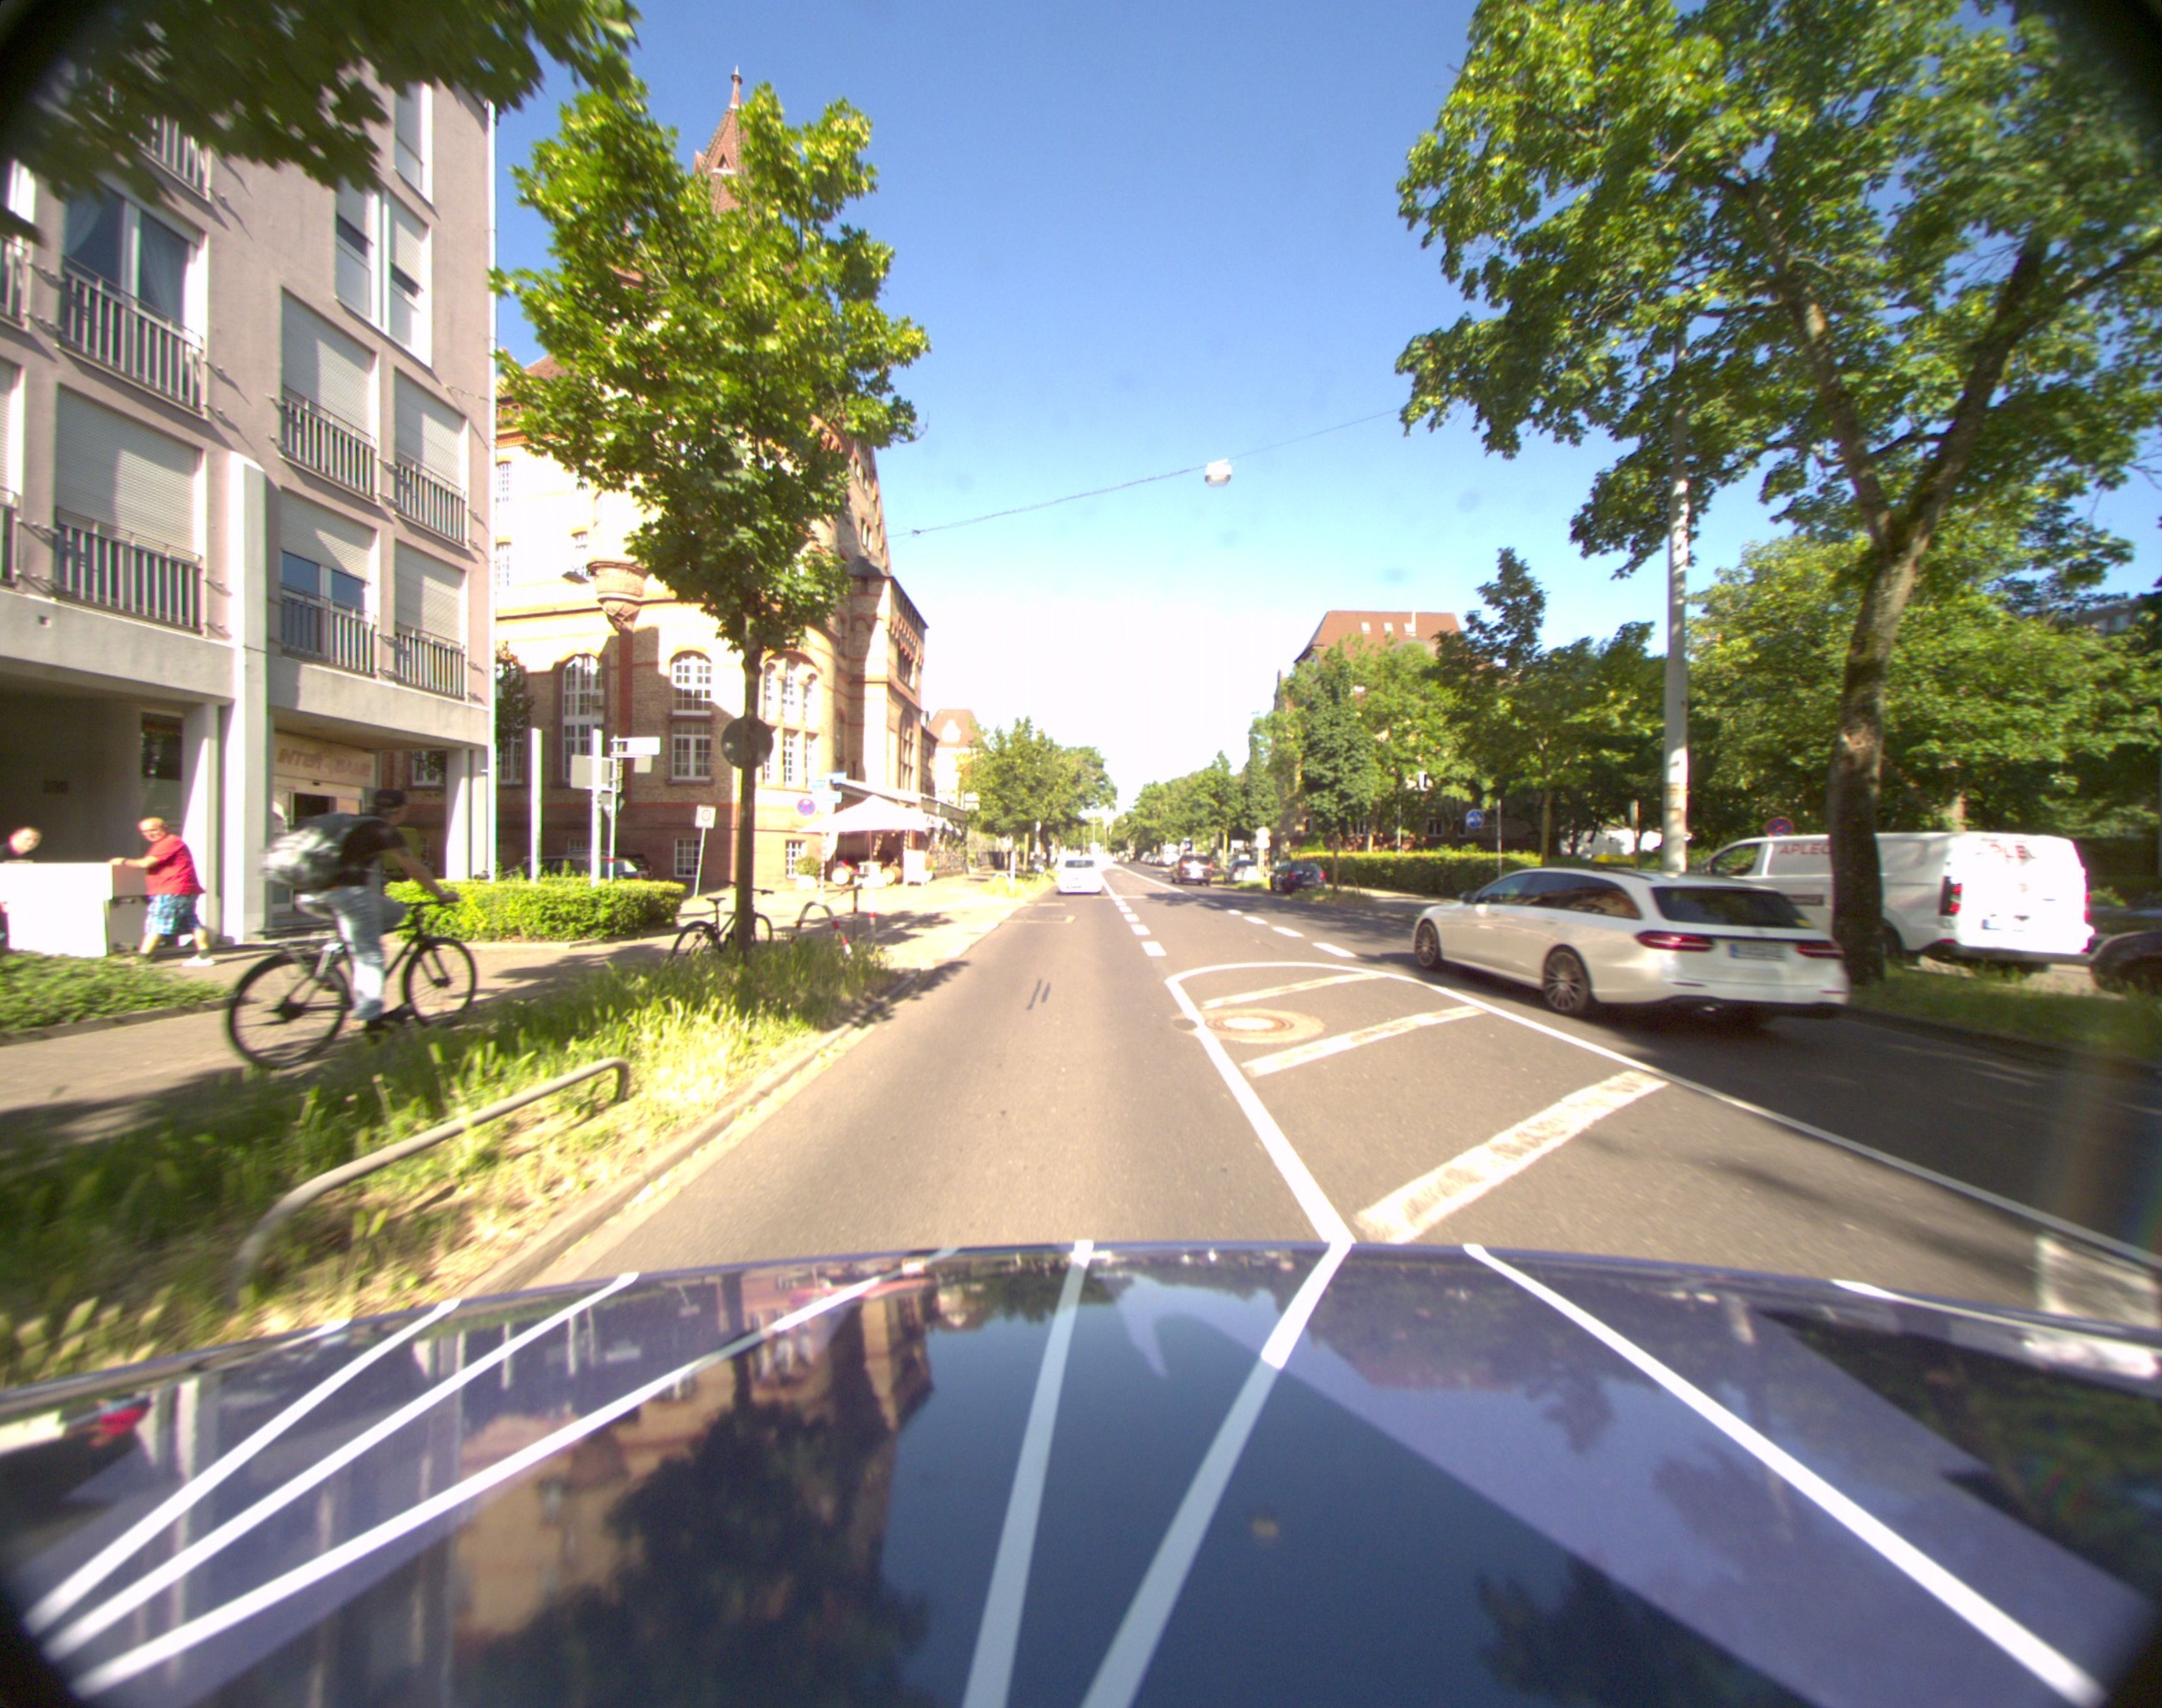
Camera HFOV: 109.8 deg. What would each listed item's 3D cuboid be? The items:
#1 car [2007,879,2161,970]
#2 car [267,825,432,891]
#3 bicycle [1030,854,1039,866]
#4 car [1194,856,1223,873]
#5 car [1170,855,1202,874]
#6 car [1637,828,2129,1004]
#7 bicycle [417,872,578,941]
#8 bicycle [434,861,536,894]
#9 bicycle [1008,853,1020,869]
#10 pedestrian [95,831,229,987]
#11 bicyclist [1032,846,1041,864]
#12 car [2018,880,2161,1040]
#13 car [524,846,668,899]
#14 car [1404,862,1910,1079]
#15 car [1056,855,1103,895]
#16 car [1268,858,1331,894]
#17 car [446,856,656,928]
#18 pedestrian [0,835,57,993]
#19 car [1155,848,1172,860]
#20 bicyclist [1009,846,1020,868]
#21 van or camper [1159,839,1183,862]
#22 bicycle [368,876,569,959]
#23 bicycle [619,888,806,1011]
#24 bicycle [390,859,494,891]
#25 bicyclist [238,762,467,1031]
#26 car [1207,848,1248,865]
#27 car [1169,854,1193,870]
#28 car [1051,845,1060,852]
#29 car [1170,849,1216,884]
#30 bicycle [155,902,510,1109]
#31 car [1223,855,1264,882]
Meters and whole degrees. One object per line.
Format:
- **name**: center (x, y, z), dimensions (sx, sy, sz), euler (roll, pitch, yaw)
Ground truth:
- **car**: center (20.812, 1.263, 14.035), dimensions (4.680, 1.504, 2.010), euler (0, 0, 5)
- **car**: center (-27.038, 0.149, 28.146), dimensions (4.798, 2.289, 2.139), euler (0, 1, 14)
- **bicycle**: center (-4.138, 0.568, 67.992), dimensions (0.687, 1.022, 2.095), euler (0, 1, 0)
- **car**: center (10.022, 0.840, 59.918), dimensions (1.682, 1.248, 4.015), euler (0, 0, 1)
- **car**: center (9.376, 0.925, 68.090), dimensions (1.861, 1.485, 4.703), euler (-3, 0, -4)
- **car**: center (11.701, 0.749, 11.870), dimensions (1.986, 2.064, 5.195), euler (2, 0, -2)
- **bicycle**: center (-9.550, 0.832, 12.586), dimensions (0.686, 1.021, 2.205), euler (2, -2, 9)
- **bicycle**: center (-21.274, 0.815, 27.224), dimensions (1.057, 1.021, 2.774), euler (-1, 1, 15)
- **bicycle**: center (-5.160, 0.528, 58.558), dimensions (0.654, 1.169, 1.843), euler (4, 0, 2)
- **pedestrian**: center (-9.912, 0.576, 8.222), dimensions (0.655, 1.595, 0.603), euler (3, 1, -5)
- **bicyclist**: center (-3.960, 0.116, 67.904), dimensions (0.702, 1.590, 0.955), euler (0, 1, 0)
- **car**: center (11.479, 1.066, 6.459), dimensions (1.786, 1.514, 4.319), euler (0, 0, 2)
- **car**: center (-15.947, 0.563, 25.024), dimensions (3.948, 1.515, 1.797), euler (1, 3, 17)
- **car**: center (5.546, 0.946, 8.348), dimensions (1.860, 1.559, 4.714), euler (3, 0, -1)
- **car**: center (-0.002, 0.790, 30.528), dimensions (1.652, 1.449, 3.897), euler (1, 0, 3)
- **car**: center (9.444, 0.910, 33.125), dimensions (1.716, 1.450, 4.072), euler (0, 0, 2)
- **car**: center (-12.423, 0.840, 17.884), dimensions (3.949, 1.514, 1.863), euler (0, 1, 14)
- **pedestrian**: center (-11.422, 0.612, 7.904), dimensions (0.655, 1.595, 0.603), euler (3, 1, -5)
- **car**: center (10.896, 0.032, 100.446), dimensions (1.698, 1.448, 4.663), euler (2, 0, -1)
- **bicyclist**: center (-5.135, 0.219, 58.510), dimensions (0.647, 1.685, 0.889), euler (4, 0, 2)
- **van or camper**: center (11.215, -0.438, 94.846), dimensions (2.222, 2.723, 6.088), euler (1, 0, 0)
- **bicycle**: center (-8.362, 0.850, 10.425), dimensions (2.201, 1.021, 0.687), euler (2, -1, 2)
- **bicycle**: center (-3.859, 0.943, 8.180), dimensions (0.591, 1.060, 2.025), euler (1, 0, 17)
- **bicycle**: center (-23.309, 0.750, 27.808), dimensions (1.057, 1.021, 2.774), euler (-1, 1, 15)
- **bicyclist**: center (-4.919, 0.264, 5.204), dimensions (0.669, 1.686, 0.889), euler (0, 1, -1)
- **car**: center (16.095, 0.314, 83.391), dimensions (4.150, 1.660, 1.995), euler (-2, -1, -33)
- **car**: center (9.802, 0.733, 74.739), dimensions (1.860, 1.419, 4.720), euler (-3, 0, 1)
- **car**: center (-5.559, -1.125, 163.751), dimensions (1.847, 1.432, 4.104), euler (3, 0, -3)
- **car**: center (6.276, 0.681, 43.115), dimensions (1.860, 1.814, 4.609), euler (2, 0, 0)
- **bicycle**: center (-4.921, 0.916, 5.220), dimensions (0.590, 1.022, 1.859), euler (0, 1, 0)
- **car**: center (9.418, 0.813, 44.299), dimensions (1.692, 1.375, 4.192), euler (-2, 0, 3)
